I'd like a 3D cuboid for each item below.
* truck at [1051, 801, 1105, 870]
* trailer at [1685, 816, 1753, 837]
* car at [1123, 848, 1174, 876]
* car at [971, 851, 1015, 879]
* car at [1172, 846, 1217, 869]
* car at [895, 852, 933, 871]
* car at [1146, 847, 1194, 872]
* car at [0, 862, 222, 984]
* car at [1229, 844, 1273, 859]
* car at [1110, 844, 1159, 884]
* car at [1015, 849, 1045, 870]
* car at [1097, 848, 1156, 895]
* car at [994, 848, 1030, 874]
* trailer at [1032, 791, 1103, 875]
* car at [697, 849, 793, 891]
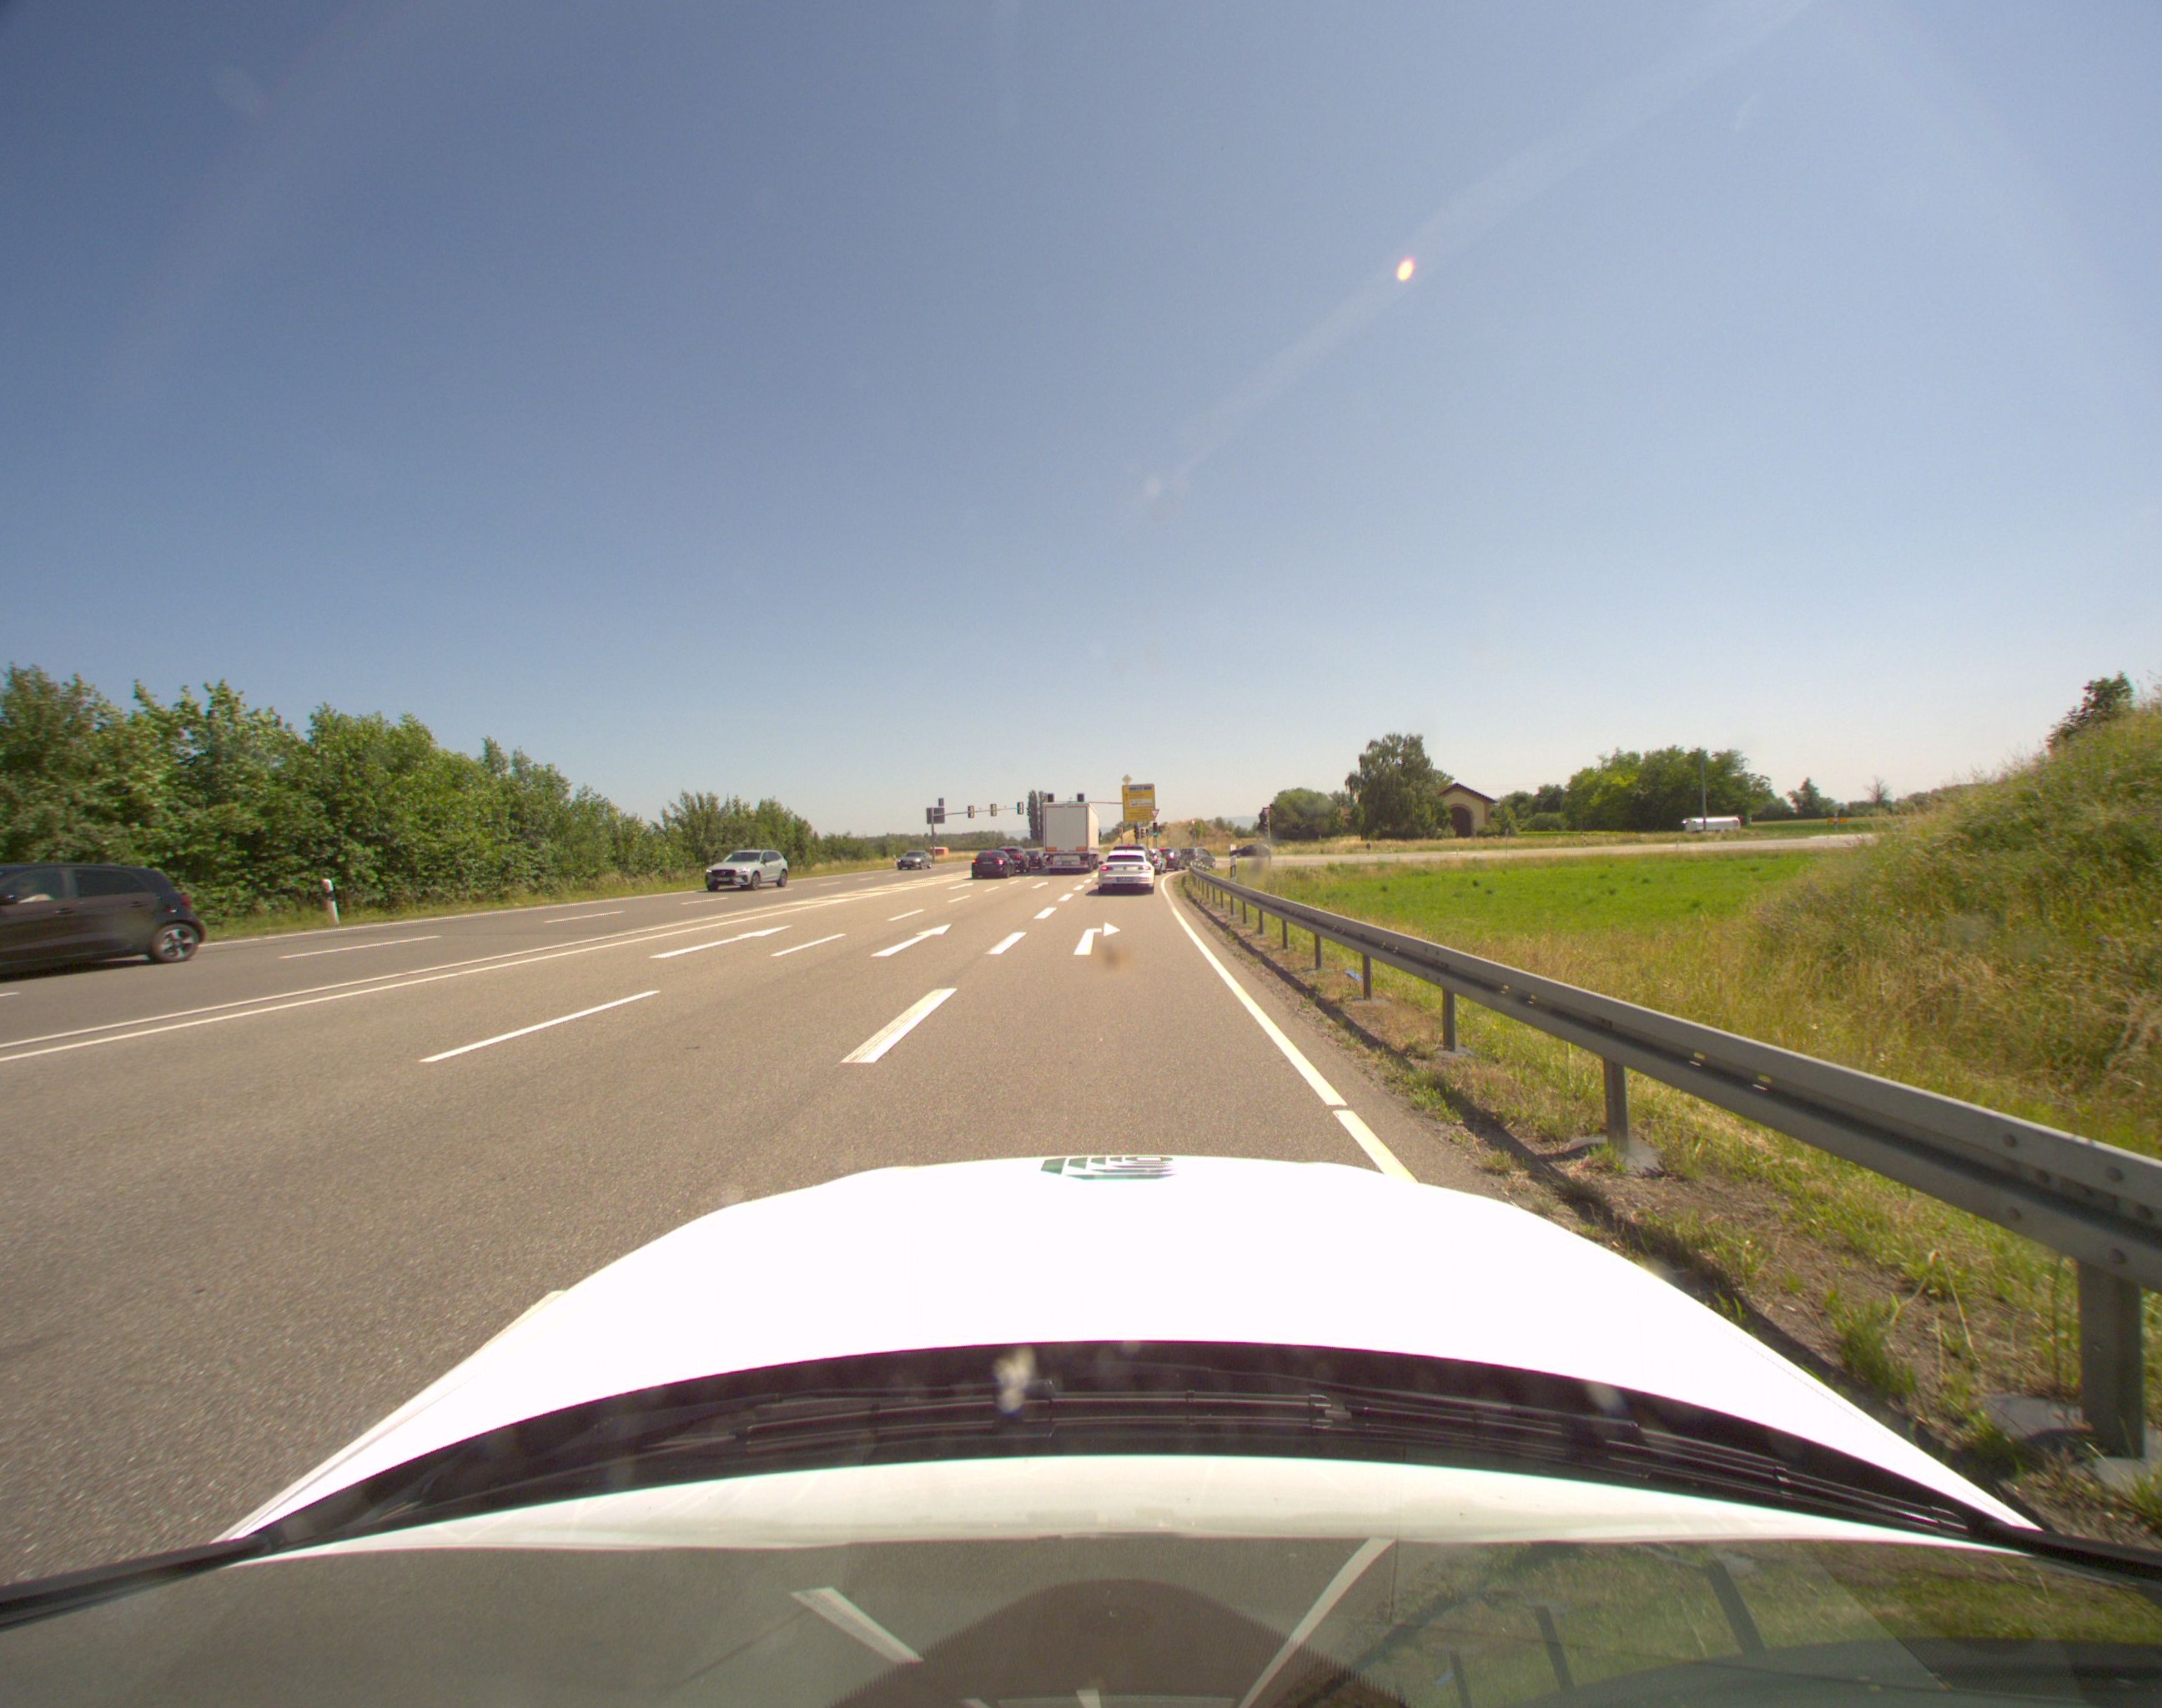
[{"bbox_3d":[-0.107,-1.254,57.784,3.366,4.542,6.379,0,0,3],"label":"truck"},{"bbox_3d":[81.607,-3.521,104.280,6.327,2.455,2.693,-2,2,7],"label":"trailer"},{"bbox_3d":[3.753,0.402,44.734,1.785,1.429,4.112,-1,0,19],"label":"car"},{"bbox_3d":[-4.599,0.570,43.026,1.802,1.398,4.023,0,0,1],"label":"car"},{"bbox_3d":[8.032,0.241,57.268,1.782,1.522,3.906,-1,0,29],"label":"car"},{"bbox_3d":[-12.892,0.547,63.079,1.871,1.398,4.532,-1,0,1],"label":"car"},{"bbox_3d":[5.567,0.305,50.525,1.784,1.476,4.438,-1,0,22],"label":"car"},{"bbox_3d":[-14.254,0.879,10.929,1.639,1.487,3.559,0,0,1],"label":"car"},{"bbox_3d":[17.732,-0.298,85.122,4.238,1.368,1.779,-2,1,6],"label":"car"},{"bbox_3d":[2.391,0.422,35.650,1.925,1.616,4.386,-1,0,6],"label":"car"},{"bbox_3d":[-3.702,0.379,59.220,1.802,1.493,4.023,0,0,1],"label":"car"},{"bbox_3d":[1.573,0.548,27.864,1.840,1.433,4.612,-1,0,3],"label":"car"},{"bbox_3d":[-4.225,0.409,50.415,1.802,1.493,4.023,0,0,1],"label":"car"},{"bbox_3d":[-0.560,-1.187,50.889,3.366,4.542,12.884,0,0,4],"label":"trailer"},{"bbox_3d":[-13.842,0.615,33.862,2.021,1.639,4.569,0,0,1],"label":"car"}]
